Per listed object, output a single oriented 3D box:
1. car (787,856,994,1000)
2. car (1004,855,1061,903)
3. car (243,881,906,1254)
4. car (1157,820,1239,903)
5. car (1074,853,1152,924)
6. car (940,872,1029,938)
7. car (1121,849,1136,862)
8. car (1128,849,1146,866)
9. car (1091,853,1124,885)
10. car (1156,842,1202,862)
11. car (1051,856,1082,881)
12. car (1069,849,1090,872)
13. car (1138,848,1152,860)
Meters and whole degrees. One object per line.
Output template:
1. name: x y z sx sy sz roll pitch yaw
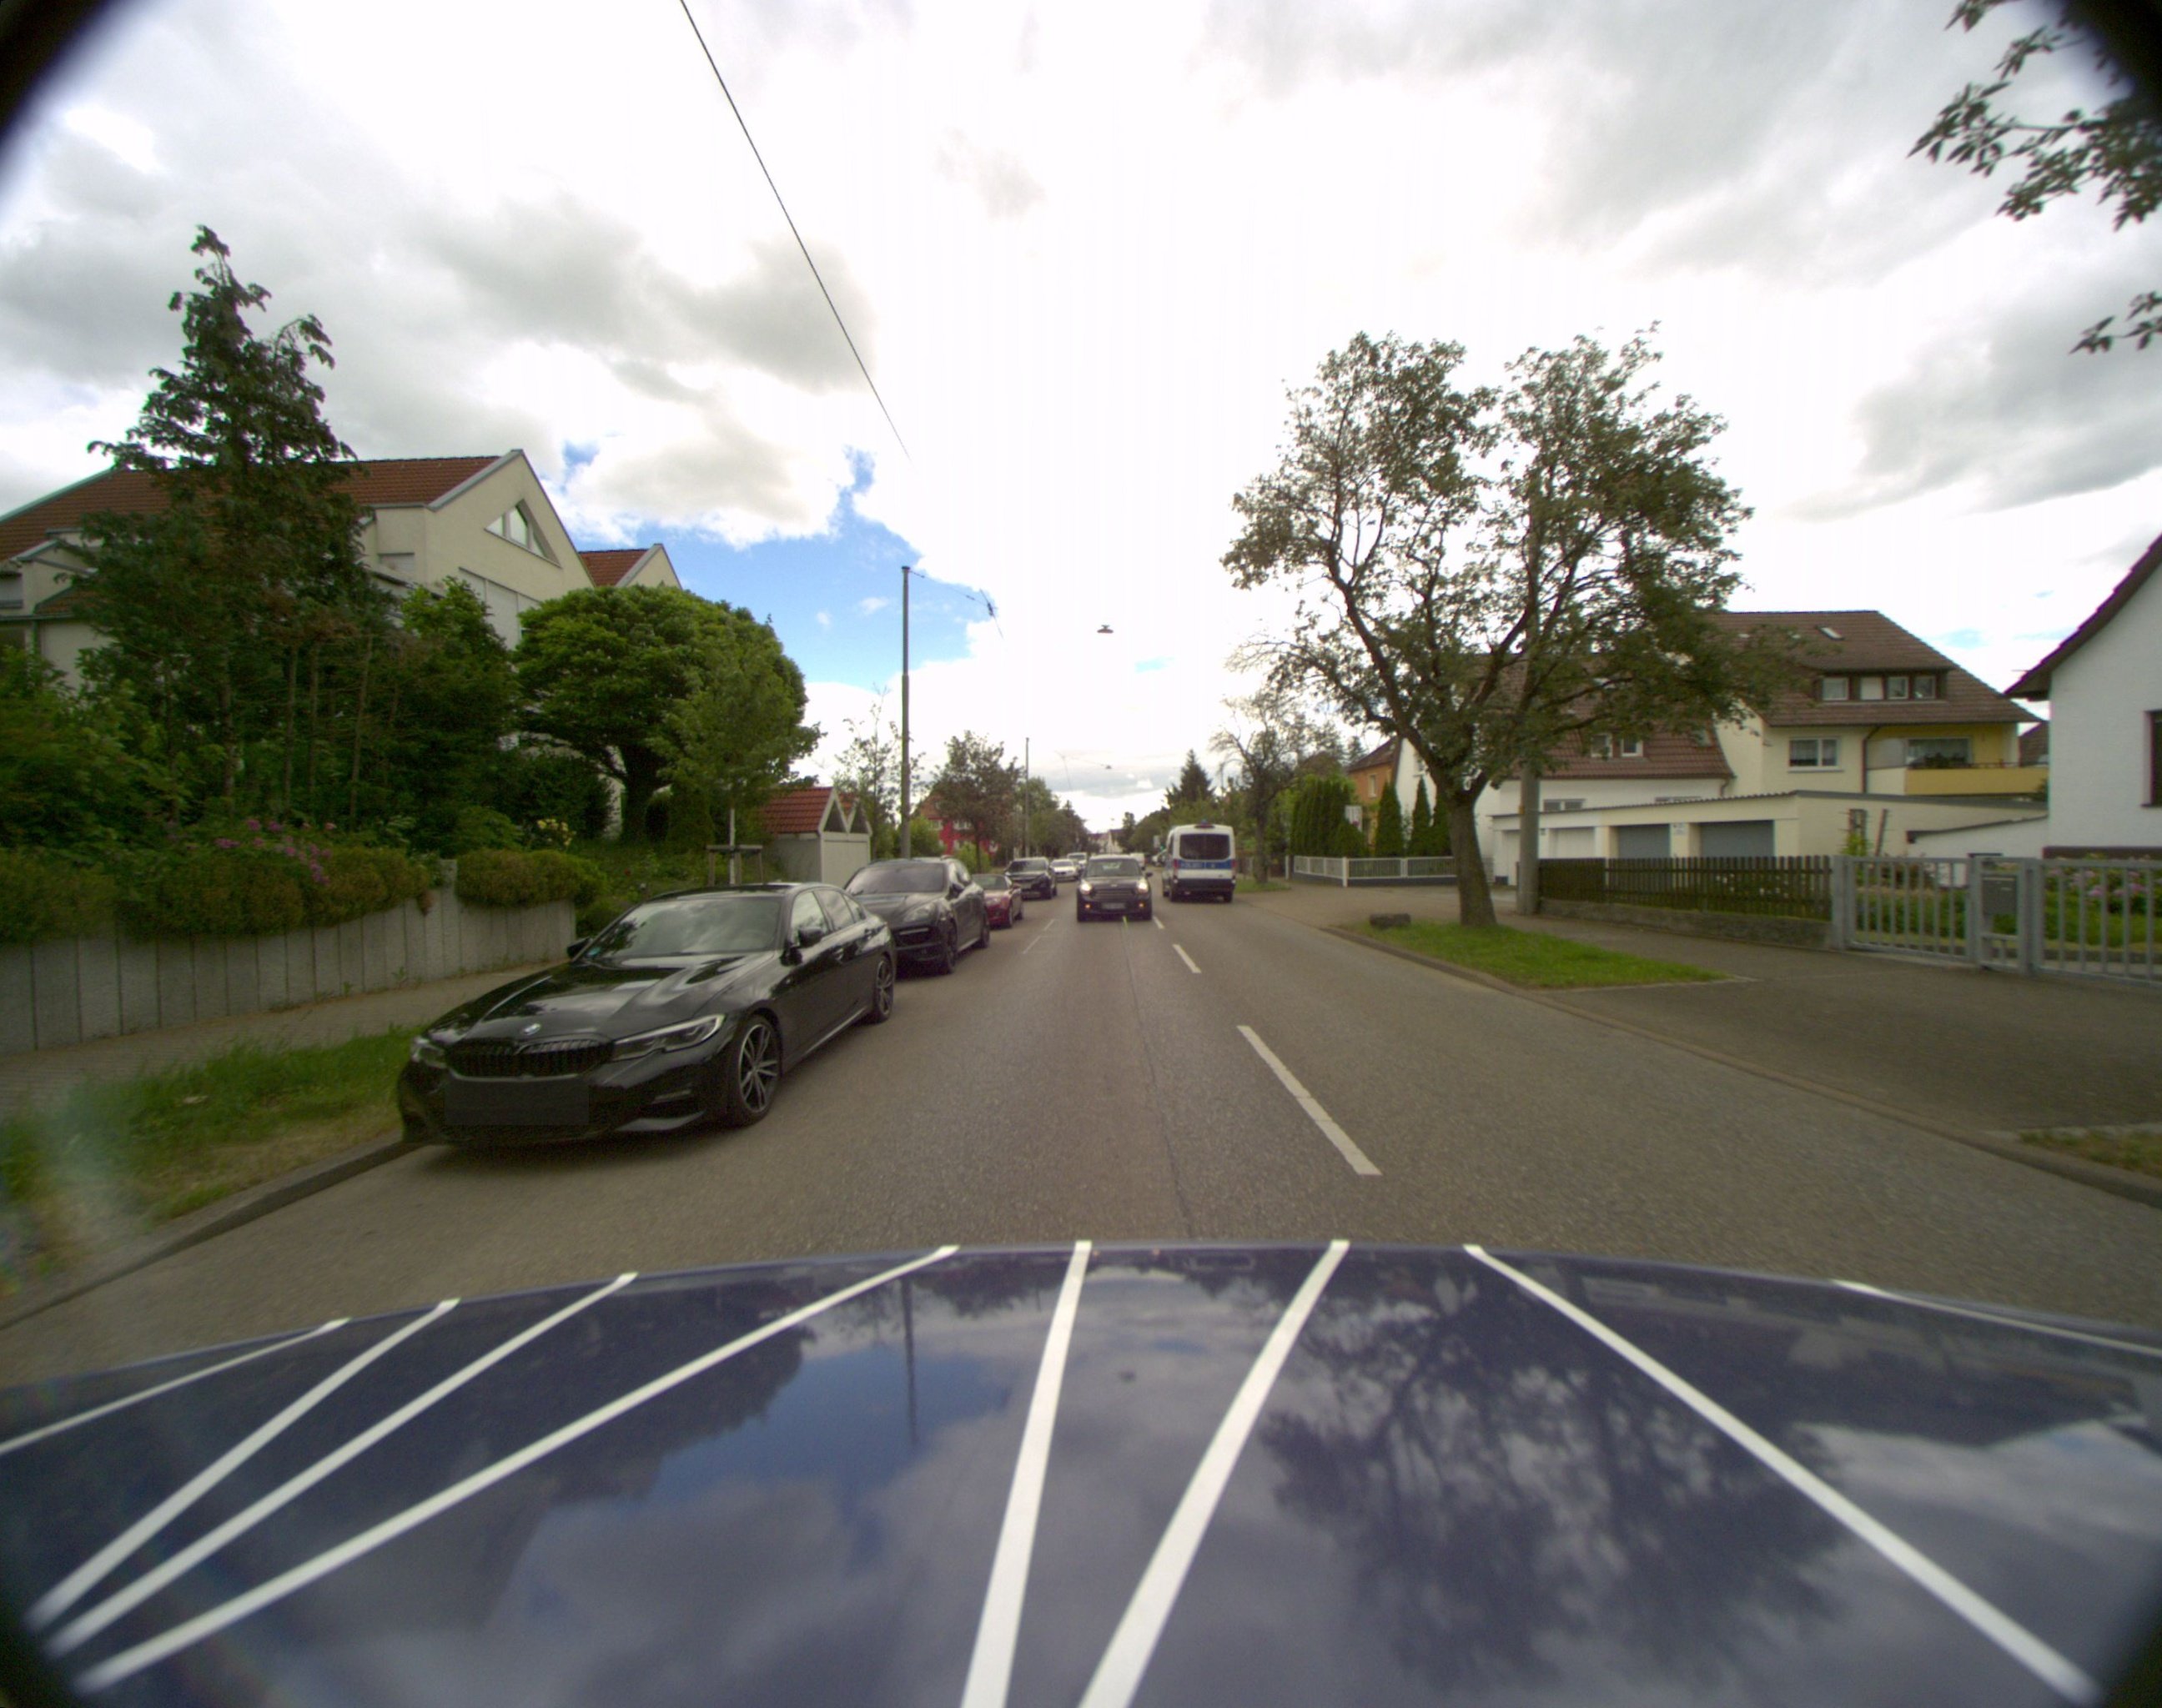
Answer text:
1. car: -2.648 0.938 11.810 1.834 1.702 4.549 -2 0 2
2. car: -1.823 0.928 29.639 1.692 1.600 4.109 -3 1 2
3. car: -2.847 1.063 5.756 1.834 1.448 4.550 -3 0 1
4. car: 3.919 0.224 26.364 2.078 2.567 5.300 1 0 1
5. car: 0.818 0.773 18.884 1.743 1.573 3.685 0 0 3
6. car: -2.224 1.146 18.420 1.485 1.229 3.884 -4 0 2
7. car: 6.254 0.228 100.145 1.818 1.683 4.466 0 0 1
8. car: 5.941 0.324 80.714 1.799 1.741 4.299 0 0 2
9. car: 1.424 0.738 39.434 1.590 1.598 3.685 -1 0 3
10. car: 12.630 -0.271 97.967 5.610 2.549 2.133 1 2 20
11. car: -0.923 0.914 49.615 1.697 1.445 4.405 -3 0 2
12. car: -0.079 0.586 70.876 1.779 1.932 4.789 -2 0 1
13. car: 10.699 -0.050 127.367 1.998 1.938 4.899 -1 0 2
